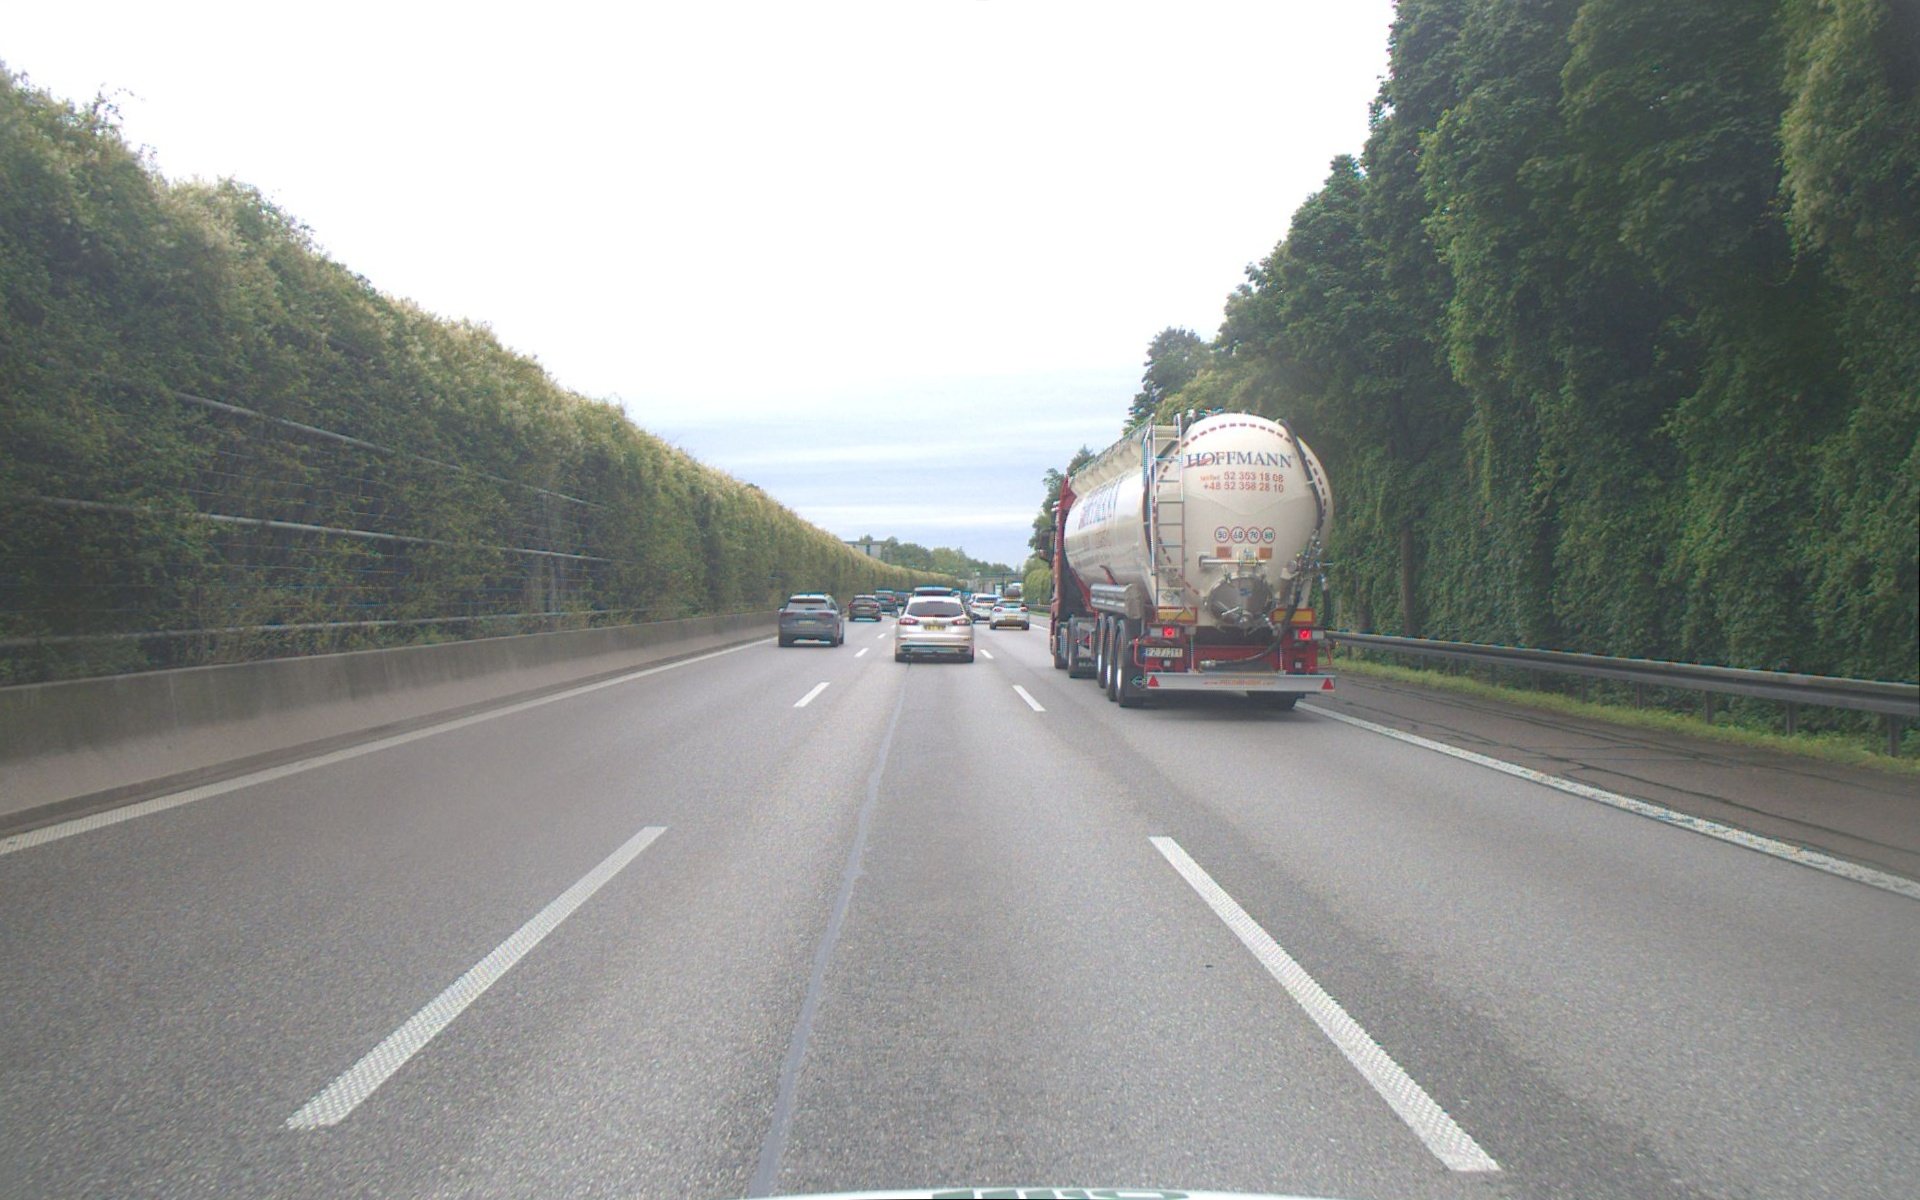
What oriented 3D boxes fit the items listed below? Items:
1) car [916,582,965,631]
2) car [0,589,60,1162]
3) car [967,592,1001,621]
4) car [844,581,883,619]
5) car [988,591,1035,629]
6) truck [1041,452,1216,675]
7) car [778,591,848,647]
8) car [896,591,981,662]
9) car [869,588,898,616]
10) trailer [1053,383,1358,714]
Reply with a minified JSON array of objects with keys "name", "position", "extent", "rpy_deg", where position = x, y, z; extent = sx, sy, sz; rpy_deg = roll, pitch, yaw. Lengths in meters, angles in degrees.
[{"name":"car","position":[-0.729,0.216,60.965],"extent":[1.655,1.532,3.871],"rpy_deg":[5,1,-1]},{"name":"car","position":[-3.297,0.673,2.017],"extent":[1.685,1.495,5.028],"rpy_deg":[1,-1,-1]},{"name":"car","position":[1.294,0.334,90.430],"extent":[1.655,1.533,3.869],"rpy_deg":[1,0,-2]},{"name":"car","position":[-5.410,-0.002,93.073],"extent":[1.953,2.049,3.840],"rpy_deg":[1,0,-1]},{"name":"car","position":[2.310,0.428,75.121],"extent":[1.779,1.654,5.028],"rpy_deg":[1,0,-2]},{"name":"truck","position":[3.195,-0.643,33.069],"extent":[2.640,3.981,6.554],"rpy_deg":[1,0,-1]},{"name":"car","position":[-4.252,0.522,48.452],"extent":[1.685,1.538,5.029],"rpy_deg":[1,0,-1]},{"name":"car","position":[-0.530,0.575,38.817],"extent":[1.853,1.530,5.028],"rpy_deg":[1,0,-2]},{"name":"car","position":[-5.627,0.144,122.332],"extent":[1.953,2.049,3.999],"rpy_deg":[1,0,-1]},{"name":"trailer","position":[3.352,-0.605,26.665],"extent":[2.614,4.008,13.125],"rpy_deg":[0,0,-2]}]
